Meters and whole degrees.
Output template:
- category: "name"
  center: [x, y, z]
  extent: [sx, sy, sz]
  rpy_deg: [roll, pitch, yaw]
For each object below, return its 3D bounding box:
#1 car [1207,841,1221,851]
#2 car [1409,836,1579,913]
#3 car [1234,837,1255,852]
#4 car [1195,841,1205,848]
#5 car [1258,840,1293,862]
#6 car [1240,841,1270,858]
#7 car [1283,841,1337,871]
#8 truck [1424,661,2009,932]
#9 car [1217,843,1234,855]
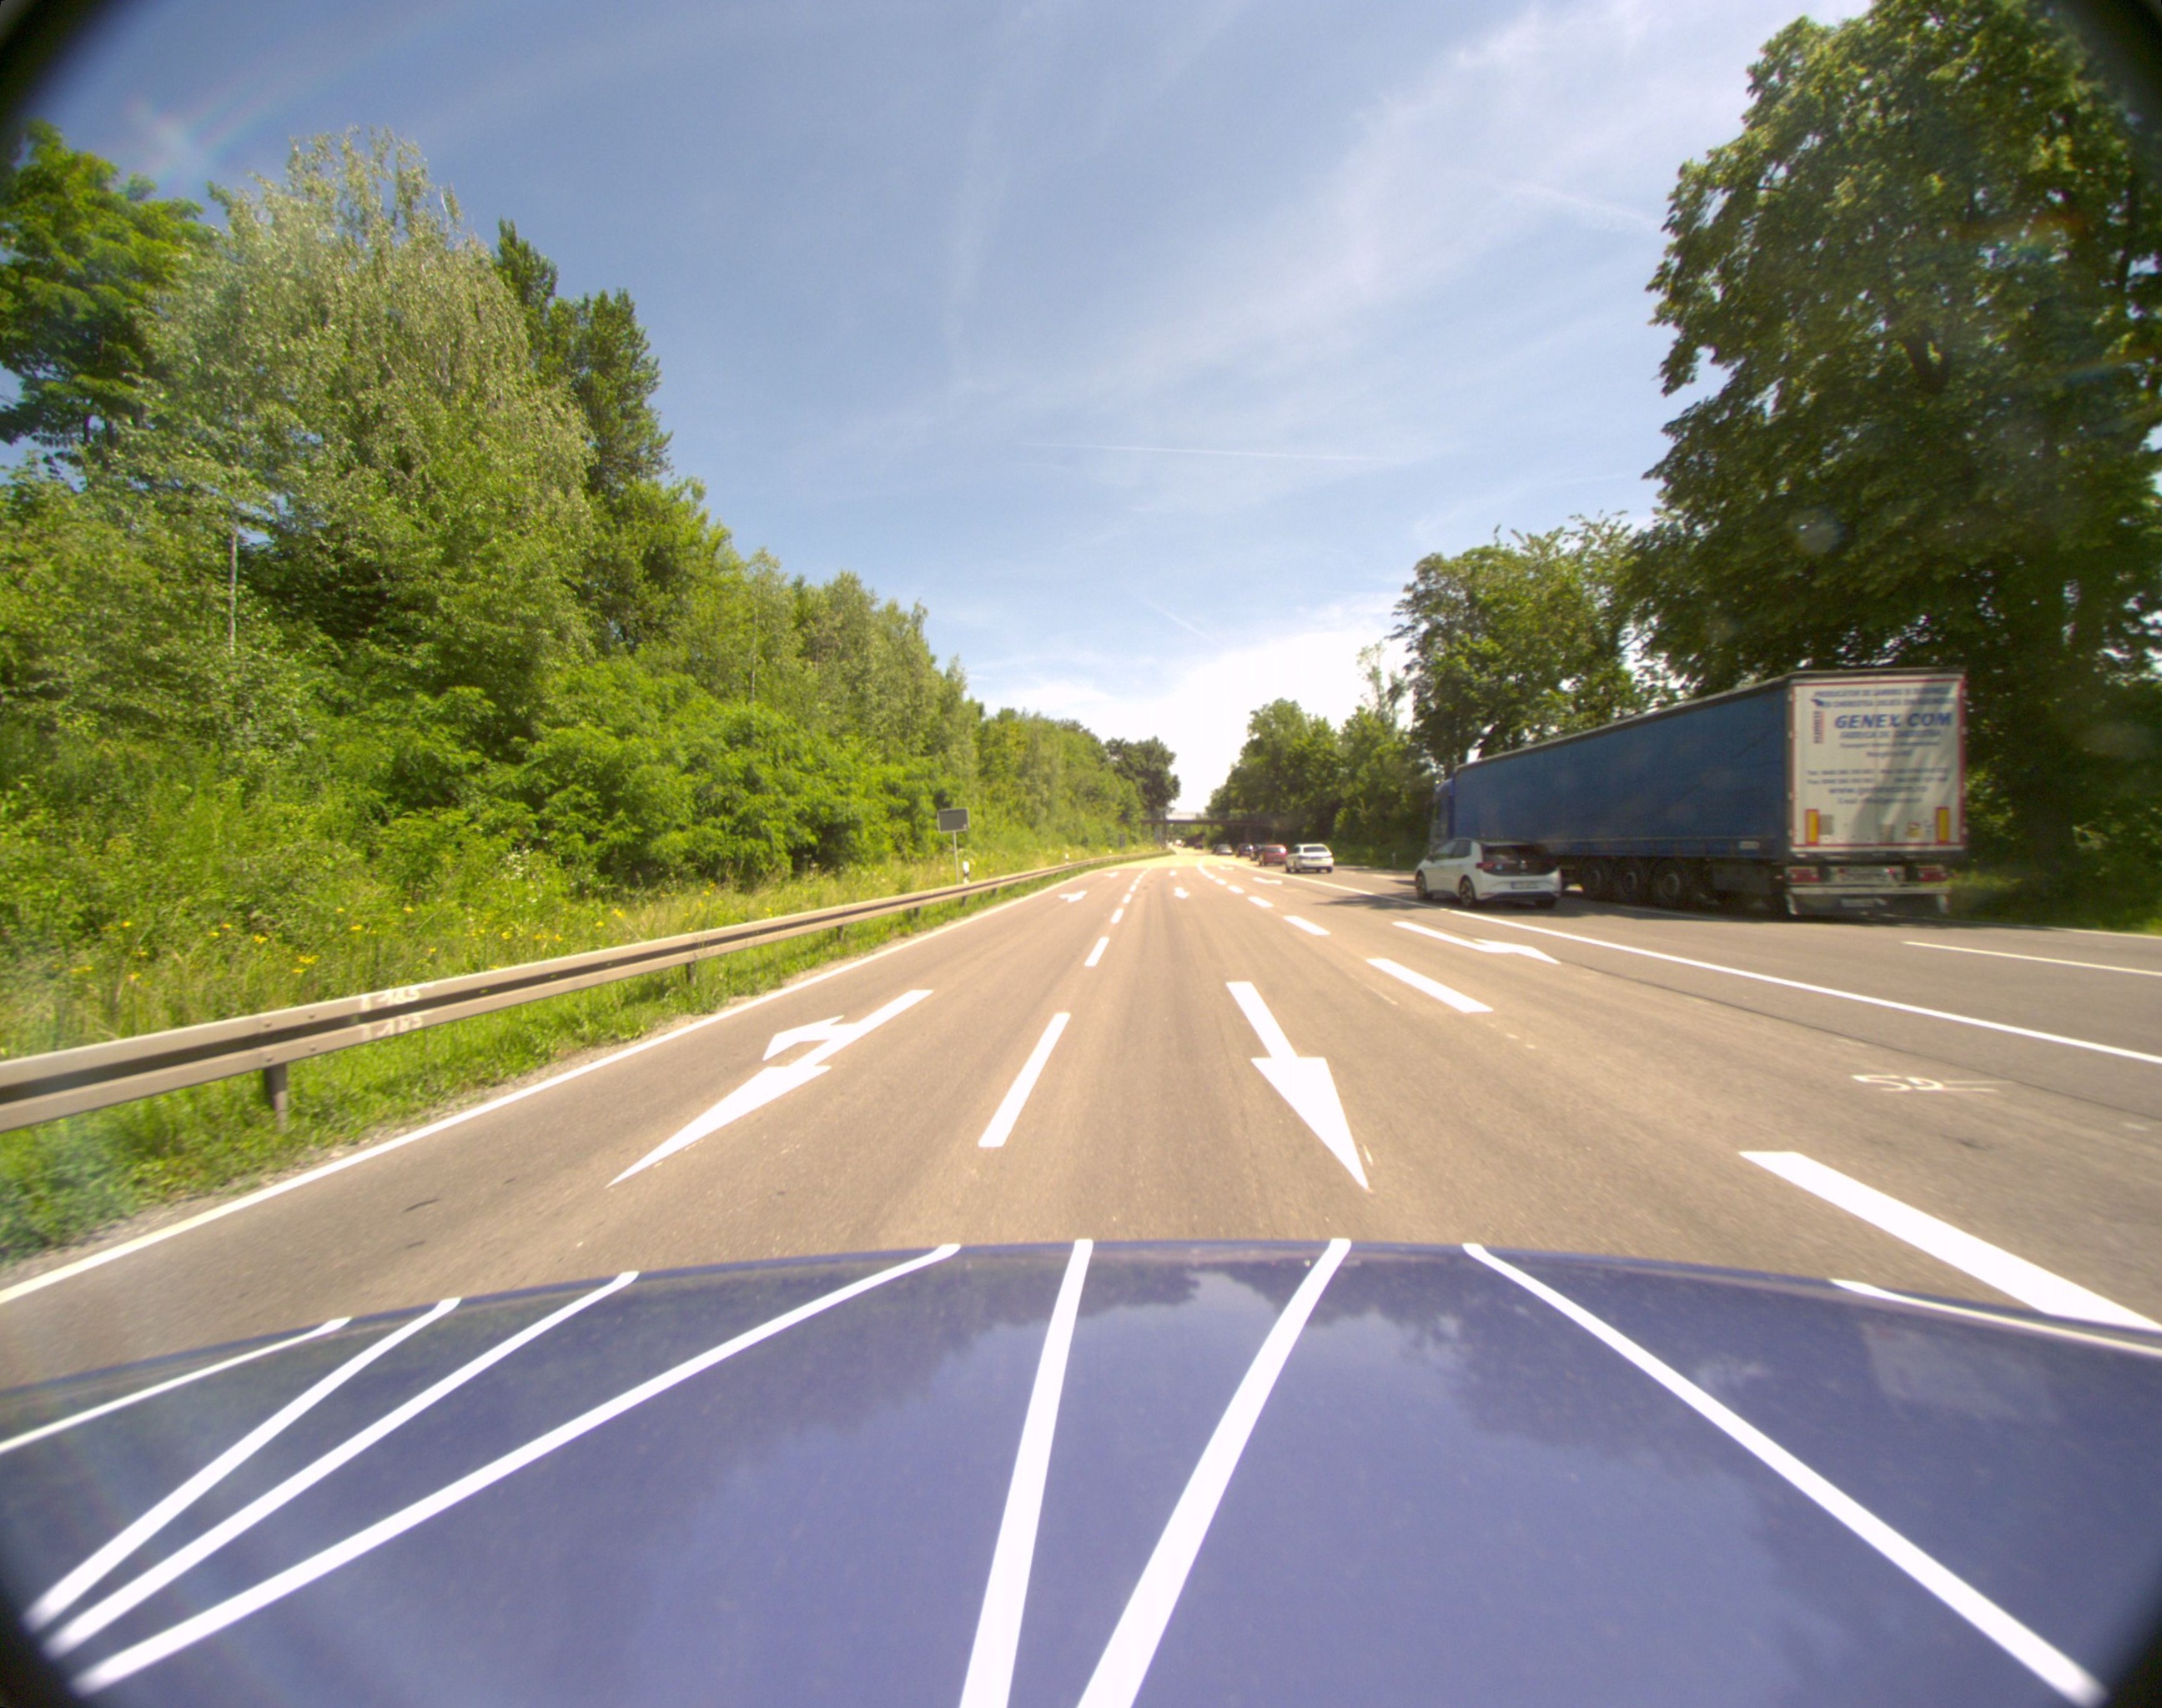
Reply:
- category: "car"
  center: [21.641, -1.312, 123.719]
  extent: [1.770, 1.378, 4.000]
  rpy_deg: [-2, 2, 6]
- category: "car"
  center: [9.113, 0.410, 17.202]
  extent: [1.796, 1.513, 4.187]
  rpy_deg: [-1, 0, 4]
- category: "car"
  center: [17.666, -1.028, 82.250]
  extent: [1.645, 1.430, 4.017]
  rpy_deg: [-2, 1, 4]
- category: "car"
  center: [27.340, -2.259, 174.443]
  extent: [1.907, 1.500, 3.766]
  rpy_deg: [-1, 1, 6]
- category: "car"
  center: [13.389, -0.214, 52.419]
  extent: [1.770, 1.437, 3.776]
  rpy_deg: [0, 1, 6]
- category: "car"
  center: [15.244, -0.379, 66.930]
  extent: [1.923, 1.472, 4.688]
  rpy_deg: [-1, 0, 5]
- category: "car"
  center: [11.640, 0.074, 38.841]
  extent: [1.703, 1.407, 4.563]
  rpy_deg: [-1, 1, 5]
- category: "truck"
  center: [13.603, -1.011, 20.127]
  extent: [2.974, 4.153, 16.578]
  rpy_deg: [-1, 1, 5]
- category: "car"
  center: [18.877, -0.712, 99.489]
  extent: [1.770, 1.378, 4.000]
  rpy_deg: [-2, 2, 6]
